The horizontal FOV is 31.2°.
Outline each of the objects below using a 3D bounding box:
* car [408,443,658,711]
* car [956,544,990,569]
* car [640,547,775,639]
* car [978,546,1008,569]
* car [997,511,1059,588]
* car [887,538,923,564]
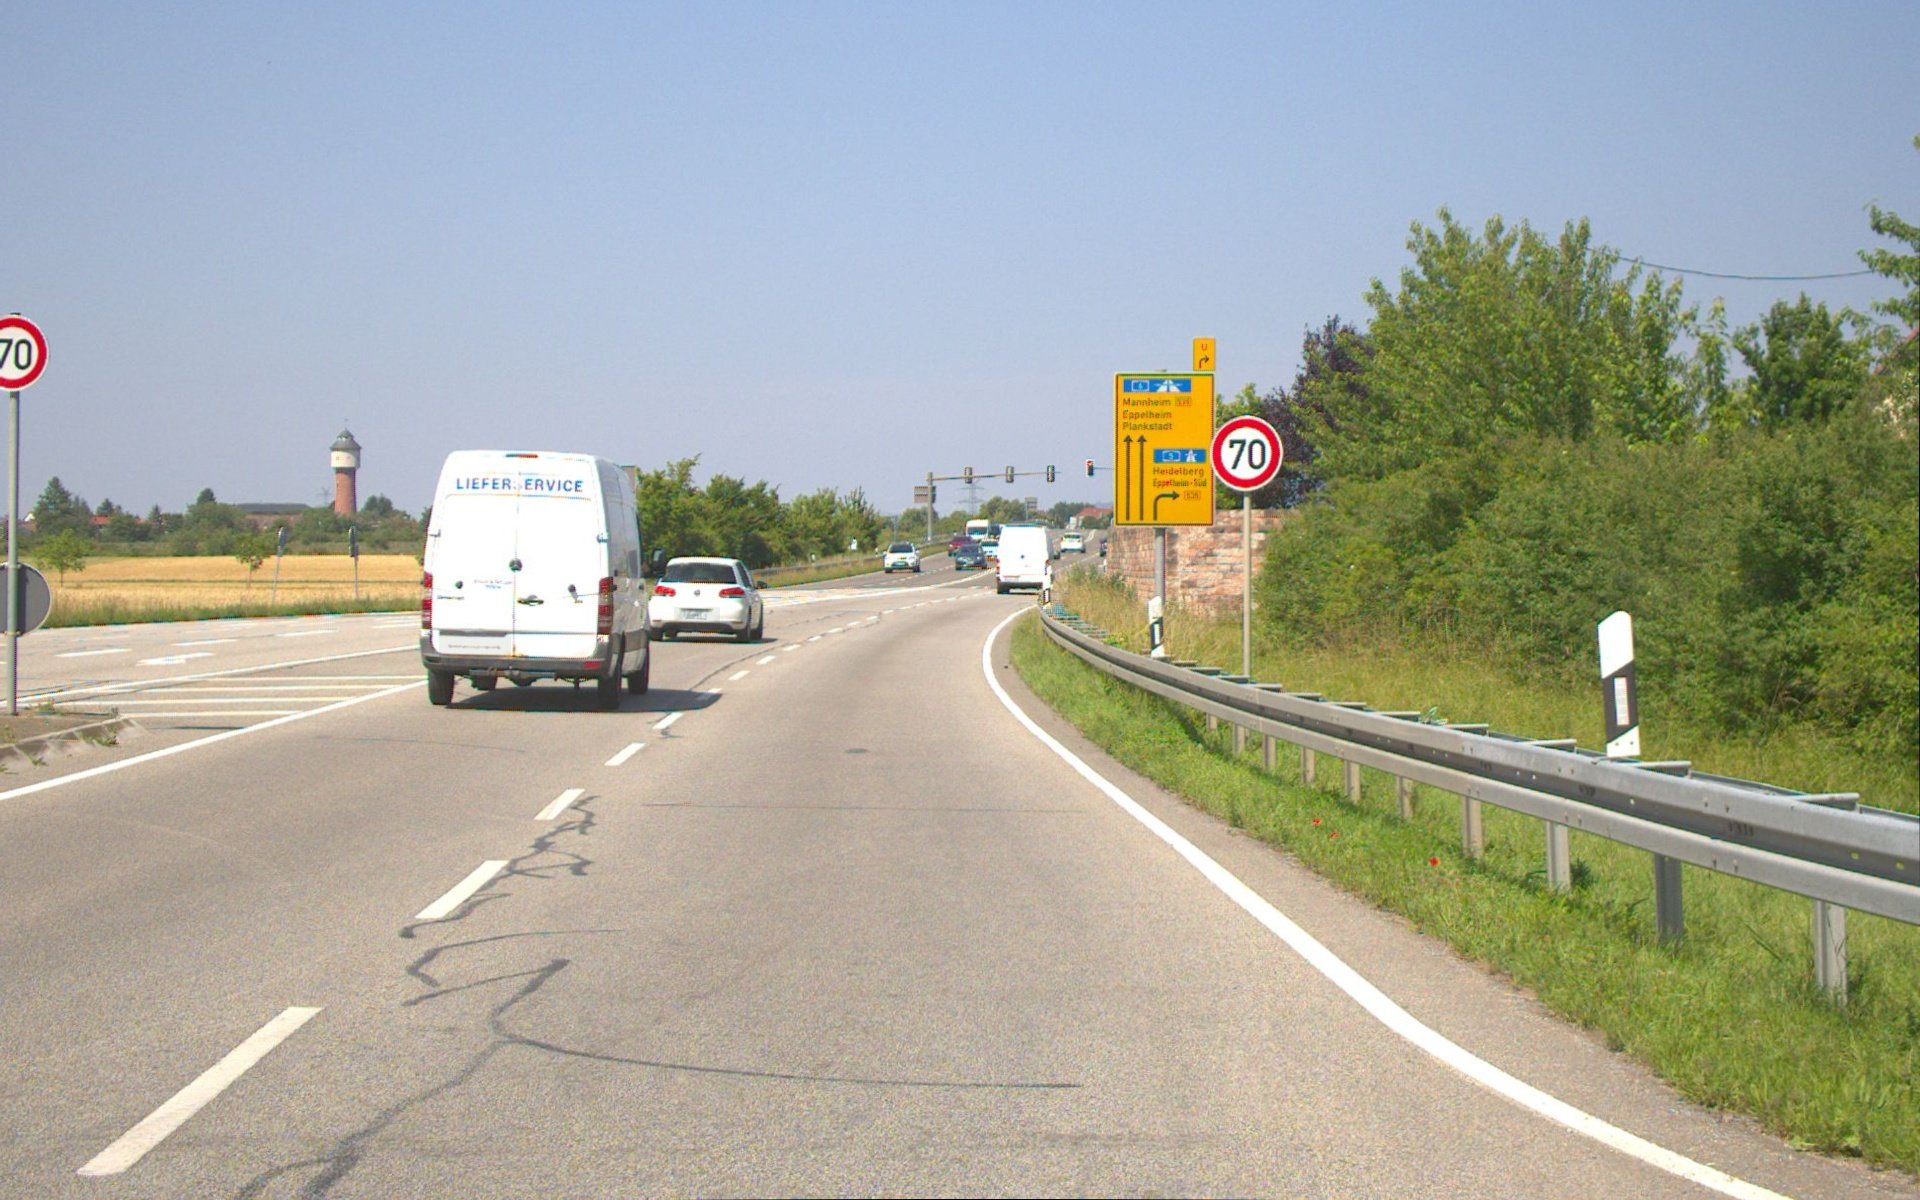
[{"bbox_3d":[-4.506,-0.293,37.122,2.039,2.611,5.742,2,1,-1],"label":"car"},{"bbox_3d":[0.761,-2.543,202.054,1.749,1.437,4.081,0,1,4],"label":"car"},{"bbox_3d":[-4.416,-0.159,60.685,1.799,1.503,4.196,1,1,4],"label":"car"},{"bbox_3d":[2.274,-2.881,235.361,1.749,1.437,4.081,3,0,4],"label":"car"},{"bbox_3d":[2.548,-1.849,127.963,1.994,2.686,4.969,2,0,4],"label":"car"},{"bbox_3d":[-3.166,-2.815,197.420,1.749,1.437,4.081,0,1,4],"label":"car"}]
